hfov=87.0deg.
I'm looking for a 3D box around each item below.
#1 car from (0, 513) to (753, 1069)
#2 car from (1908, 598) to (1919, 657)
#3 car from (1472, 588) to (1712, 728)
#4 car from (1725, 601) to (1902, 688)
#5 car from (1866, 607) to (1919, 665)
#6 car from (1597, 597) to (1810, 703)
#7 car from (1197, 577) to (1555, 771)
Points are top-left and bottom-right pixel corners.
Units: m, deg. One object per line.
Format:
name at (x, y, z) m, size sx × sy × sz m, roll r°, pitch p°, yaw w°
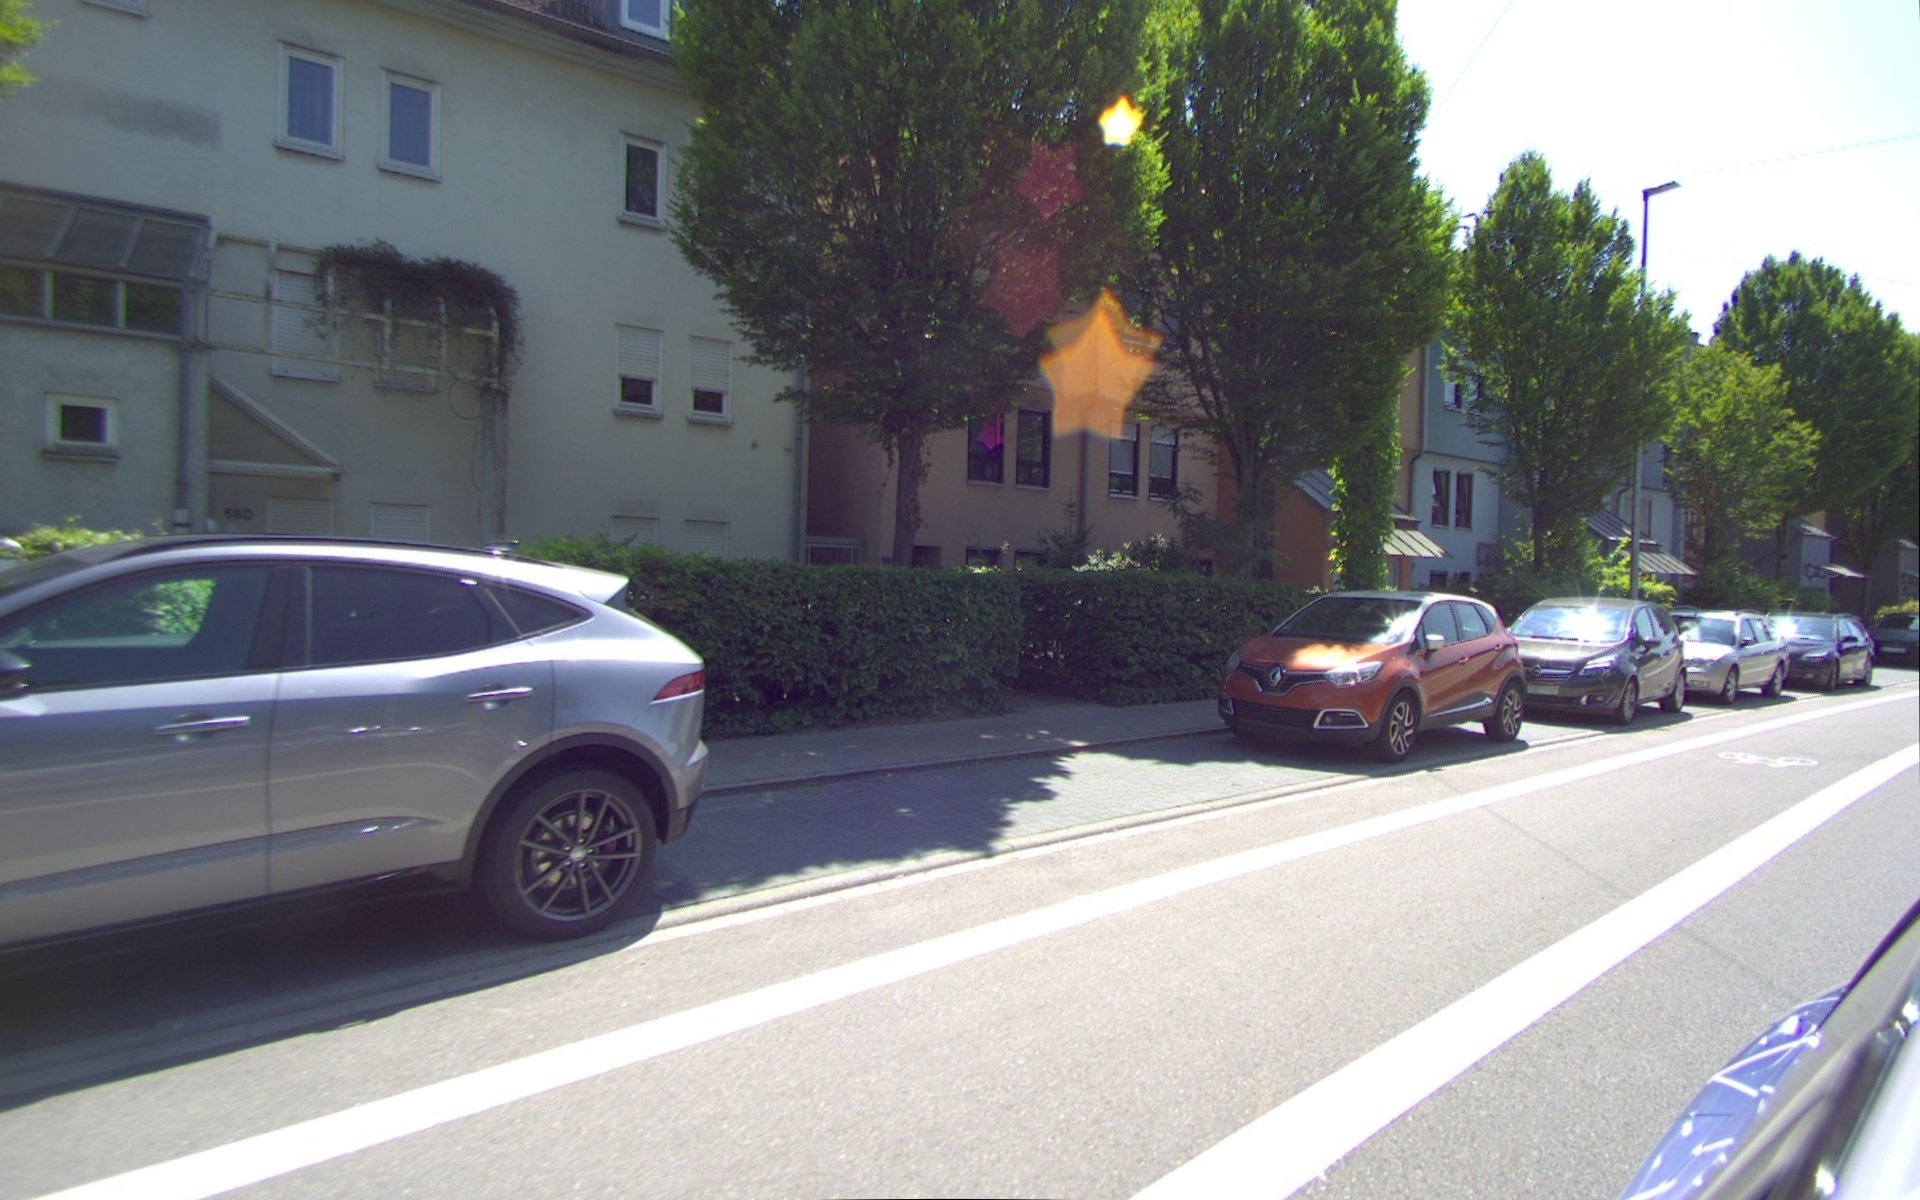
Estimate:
car at (-3.132, 0.520, 3.897) m, size 4.250 × 1.650 × 1.759 m, roll 0°, pitch 3°, yaw -42°
car at (30.834, 0.891, 30.719) m, size 4.684 × 1.715 × 1.848 m, roll 1°, pitch 3°, yaw -33°
car at (8.926, 0.689, 14.141) m, size 4.250 × 1.581 × 1.710 m, roll 0°, pitch 3°, yaw -43°
car at (17.780, 0.854, 21.000) m, size 4.945 × 1.511 × 1.712 m, roll 1°, pitch 3°, yaw -37°
car at (26.593, 0.975, 27.849) m, size 4.101 × 1.441 × 1.589 m, roll 1°, pitch 3°, yaw -36°
car at (12.903, 0.777, 17.460) m, size 4.644 × 1.511 × 1.712 m, roll 1°, pitch 3°, yaw -38°
car at (4.495, 0.621, 10.621) m, size 4.248 × 1.581 × 1.710 m, roll 0°, pitch 3°, yaw -41°
